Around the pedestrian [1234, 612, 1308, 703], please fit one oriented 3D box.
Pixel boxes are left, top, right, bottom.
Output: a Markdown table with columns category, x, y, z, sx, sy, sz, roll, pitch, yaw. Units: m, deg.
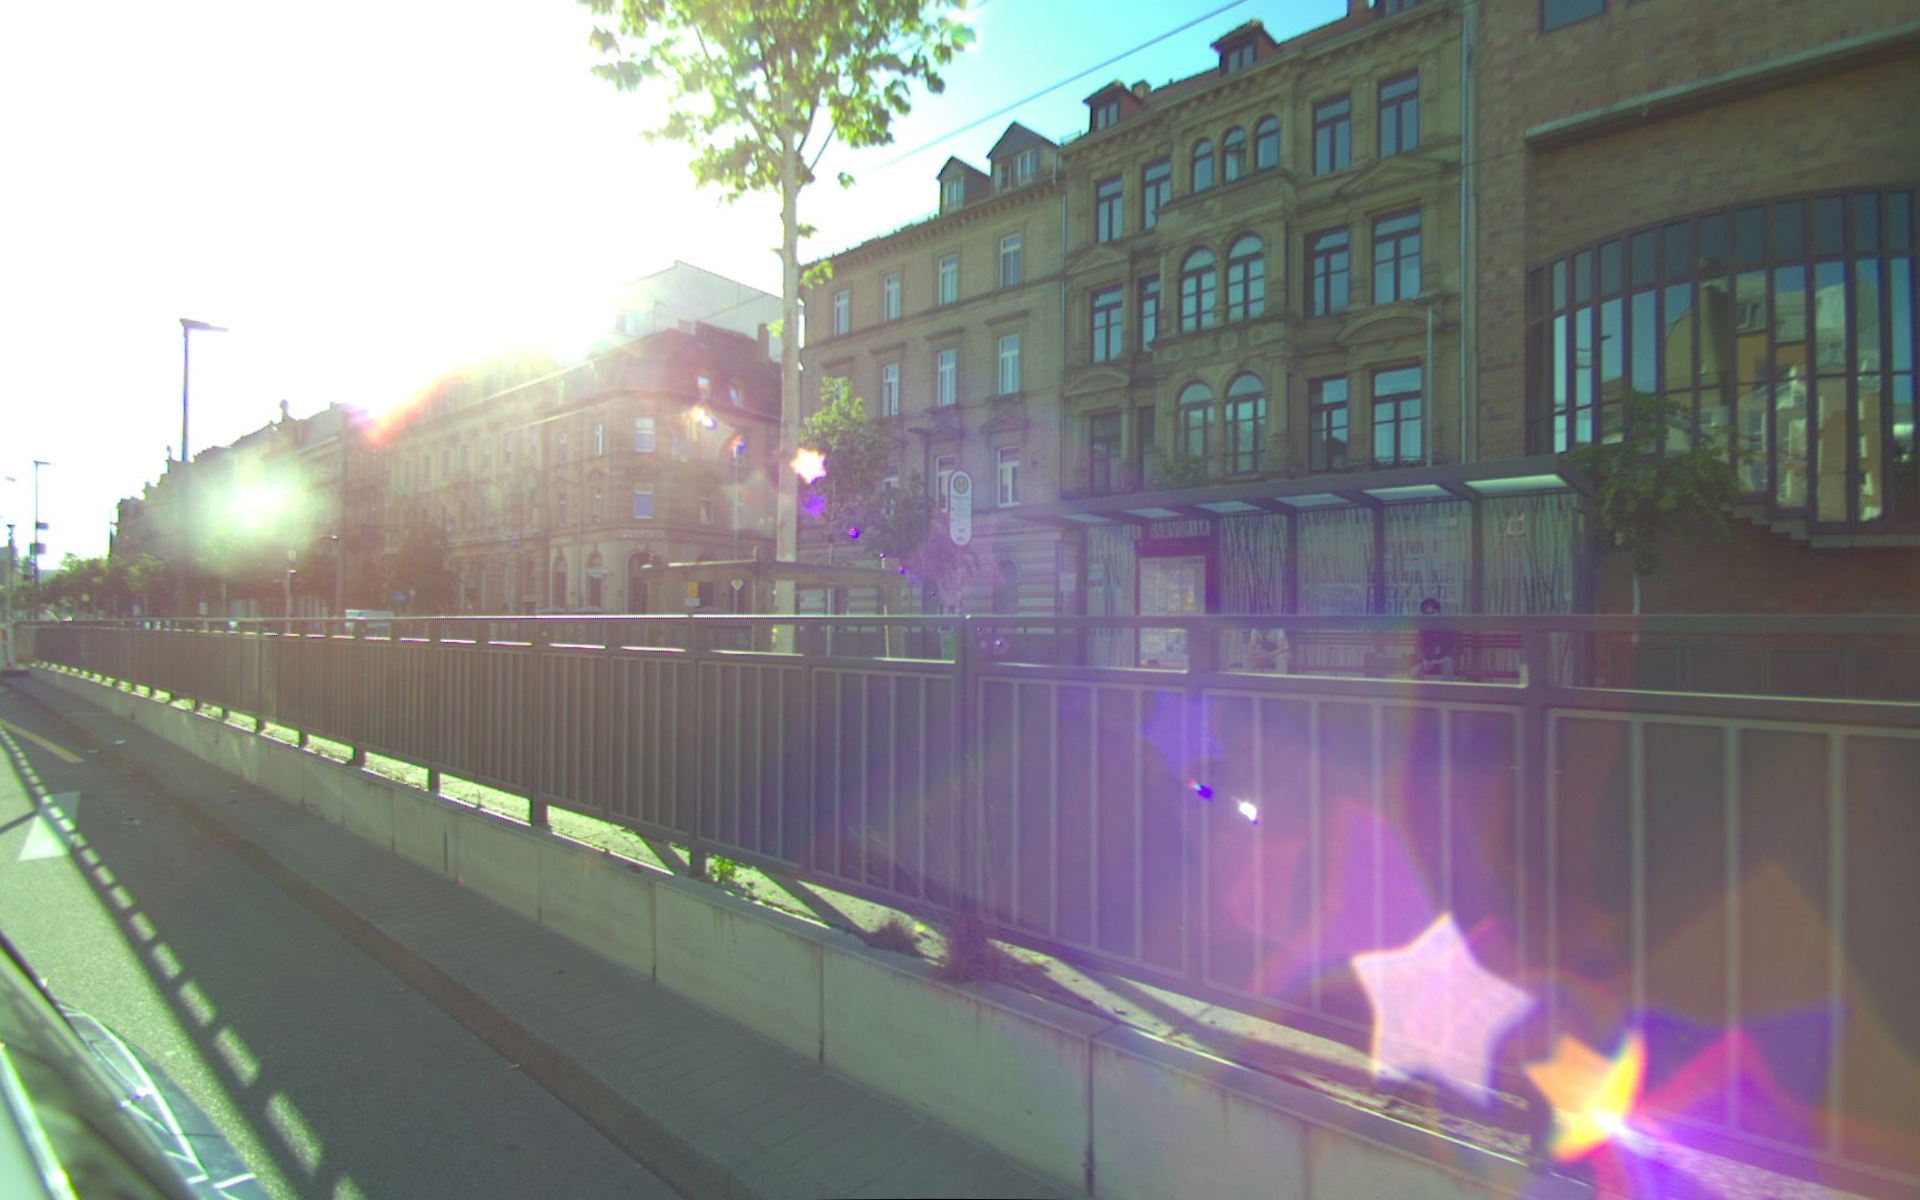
| category | x | y | z | sx | sy | sz | roll | pitch | yaw |
| --- | --- | --- | --- | --- | --- | --- | --- | --- | --- |
| pedestrian | 4.167 | 0.765 | 13.550 | 0.721 | 1.177 | 0.713 | -1 | -4 | 42 |

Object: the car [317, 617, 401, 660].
| category | x | y | z | sx | sy | sz | roll | pitch | yaw |
| --- | --- | --- | --- | --- | --- | --- | --- | --- | --- |
| car | -28.477 | 1.786 | 47.871 | 4.579 | 1.895 | 1.974 | -2 | -1 | 39 |

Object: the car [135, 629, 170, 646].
| category | x | y | z | sx | sy | sz | roll | pitch | yaw |
| --- | --- | --- | --- | --- | --- | --- | --- | --- | --- |
| car | -80.161 | 3.687 | 100.475 | 4.983 | 1.549 | 1.972 | -2 | -1 | 42 |

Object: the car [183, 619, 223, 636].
| category | x | y | z | sx | sy | sz | roll | pitch | yaw |
| --- | --- | --- | --- | --- | --- | --- | --- | --- | --- |
| car | -67.126 | 2.421 | 89.726 | 4.306 | 1.449 | 1.973 | -2 | -2 | 41 |

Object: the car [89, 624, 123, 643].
| category | x | y | z | sx | sy | sz | roll | pitch | yaw |
| --- | --- | --- | --- | --- | --- | --- | --- | --- | --- |
| car | -75.929 | 2.992 | 89.984 | 4.477 | 1.652 | 1.776 | -1 | -2 | 43 |

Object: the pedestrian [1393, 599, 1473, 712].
| category | x | y | z | sx | sy | sz | roll | pitch | yaw |
| --- | --- | --- | --- | --- | --- | --- | --- | --- | --- |
| pedestrian | 5.712 | 0.668 | 12.221 | 0.721 | 1.319 | 0.639 | -1 | -4 | 42 |

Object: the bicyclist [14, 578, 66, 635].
| category | x | y | z | sx | sy | sz | roll | pitch | yaw |
| --- | --- | --- | --- | --- | --- | --- | --- | --- | --- |
| bicyclist | -29.397 | 0.207 | 32.335 | 0.848 | 1.787 | 0.880 | 0 | -2 | 16 |

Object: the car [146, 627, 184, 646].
| category | x | y | z | sx | sy | sz | roll | pitch | yaw |
| --- | --- | --- | --- | --- | --- | --- | --- | --- | --- |
| car | -75.572 | 3.452 | 96.200 | 4.886 | 1.710 | 1.973 | -2 | -1 | 41 |

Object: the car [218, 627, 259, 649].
| category | x | y | z | sx | sy | sz | roll | pitch | yaw |
| --- | --- | --- | --- | --- | --- | --- | --- | --- | --- |
| car | -58.341 | 3.029 | 81.797 | 4.545 | 1.671 | 1.917 | -2 | -1 | 44 |

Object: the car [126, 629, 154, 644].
| category | x | y | z | sx | sy | sz | roll | pitch | yaw |
| --- | --- | --- | --- | --- | --- | --- | --- | --- | --- |
| car | -85.084 | 3.814 | 104.997 | 4.027 | 1.490 | 1.730 | -2 | -1 | 42 |
